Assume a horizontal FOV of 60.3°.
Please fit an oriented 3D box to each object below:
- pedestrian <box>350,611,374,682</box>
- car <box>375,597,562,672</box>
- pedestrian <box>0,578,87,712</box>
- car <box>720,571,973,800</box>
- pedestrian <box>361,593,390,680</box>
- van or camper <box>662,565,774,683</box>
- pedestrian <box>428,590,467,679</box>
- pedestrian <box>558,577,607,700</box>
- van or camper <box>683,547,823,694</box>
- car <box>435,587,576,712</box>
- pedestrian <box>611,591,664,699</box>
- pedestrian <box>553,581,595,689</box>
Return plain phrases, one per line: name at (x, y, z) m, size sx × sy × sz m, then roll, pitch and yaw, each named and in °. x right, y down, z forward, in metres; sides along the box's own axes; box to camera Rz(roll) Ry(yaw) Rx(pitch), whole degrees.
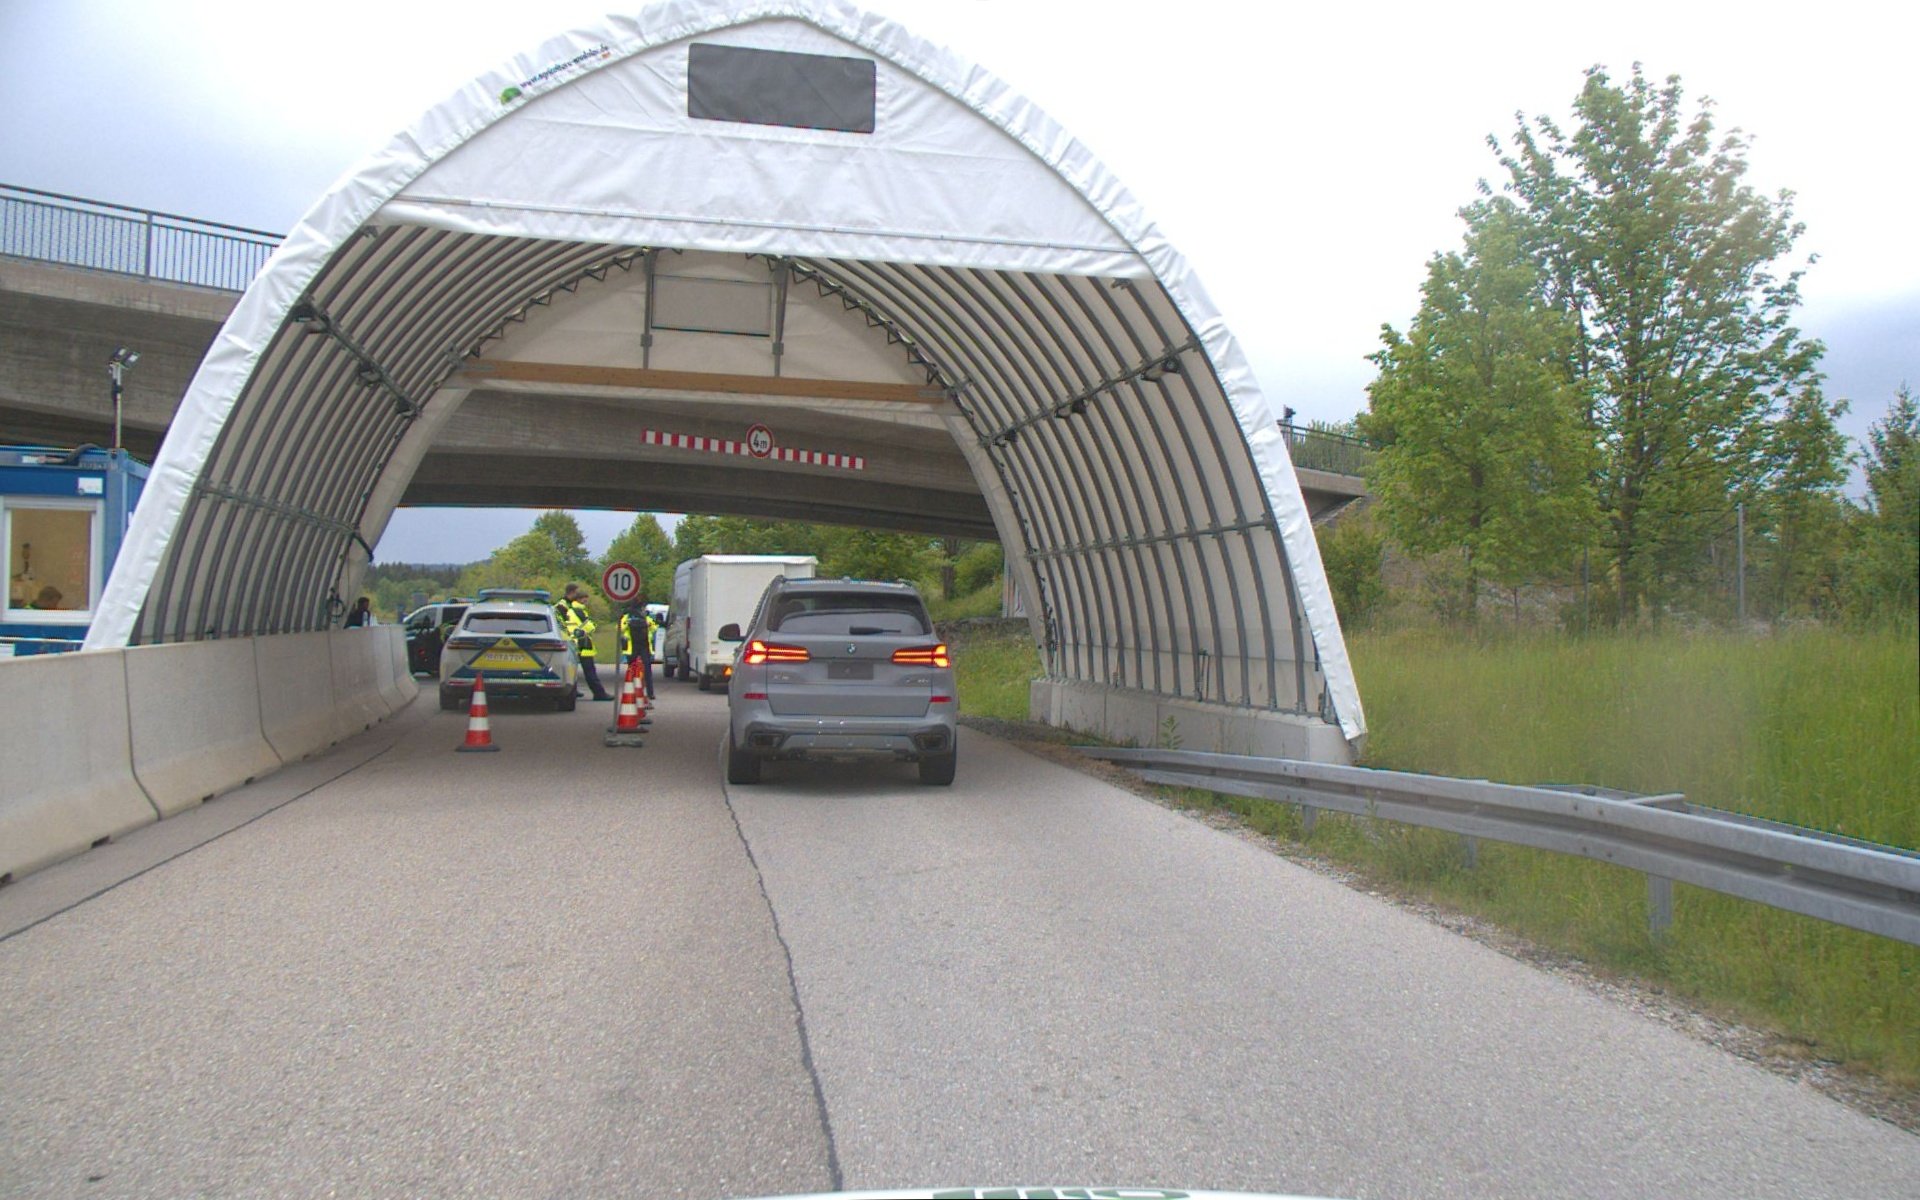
pedestrian at (-13.450, 1.046, 37.204) m, size 0.495 × 1.573 × 0.460 m, roll 0°, pitch -1°, yaw -20°
car at (-13.824, 0.949, 46.656) m, size 4.703 × 2.049 × 1.842 m, roll 0°, pitch -1°, yaw 7°
pedestrian at (-9.777, 0.471, 17.597) m, size 0.597 × 1.397 × 0.628 m, roll 0°, pitch -1°, yaw 8°
car at (-1.177, 0.689, 15.125) m, size 1.957 × 1.796 × 3.991 m, roll 0°, pitch -1°, yaw -9°
pedestrian at (-13.904, 0.866, 39.342) m, size 0.614 × 2.049 × 0.653 m, roll 0°, pitch -1°, yaw -16°
van or camper at (-5.757, 0.550, 38.855) m, size 2.068 × 2.563 × 5.530 m, roll 0°, pitch -1°, yaw -14°
pedestrian at (-11.918, 0.795, 38.485) m, size 0.686 × 2.049 × 0.692 m, roll 0°, pitch -1°, yaw -1°
pedestrian at (-6.082, 0.615, 26.633) m, size 0.736 × 1.952 × 0.760 m, roll 0°, pitch -1°, yaw -15°
van or camper at (-4.218, 0.396, 32.752) m, size 2.191 × 2.597 × 6.590 m, roll 0°, pitch -1°, yaw -12°
car at (-6.670, 0.685, 24.439) m, size 1.846 × 1.675 × 3.984 m, roll 0°, pitch -1°, yaw -15°
pedestrian at (-5.361, 0.739, 27.439) m, size 0.768 × 1.752 × 0.752 m, roll 0°, pitch -1°, yaw -20°
pedestrian at (-6.449, 0.585, 27.666) m, size 0.597 × 1.784 × 0.665 m, roll 0°, pitch -1°, yaw -6°
